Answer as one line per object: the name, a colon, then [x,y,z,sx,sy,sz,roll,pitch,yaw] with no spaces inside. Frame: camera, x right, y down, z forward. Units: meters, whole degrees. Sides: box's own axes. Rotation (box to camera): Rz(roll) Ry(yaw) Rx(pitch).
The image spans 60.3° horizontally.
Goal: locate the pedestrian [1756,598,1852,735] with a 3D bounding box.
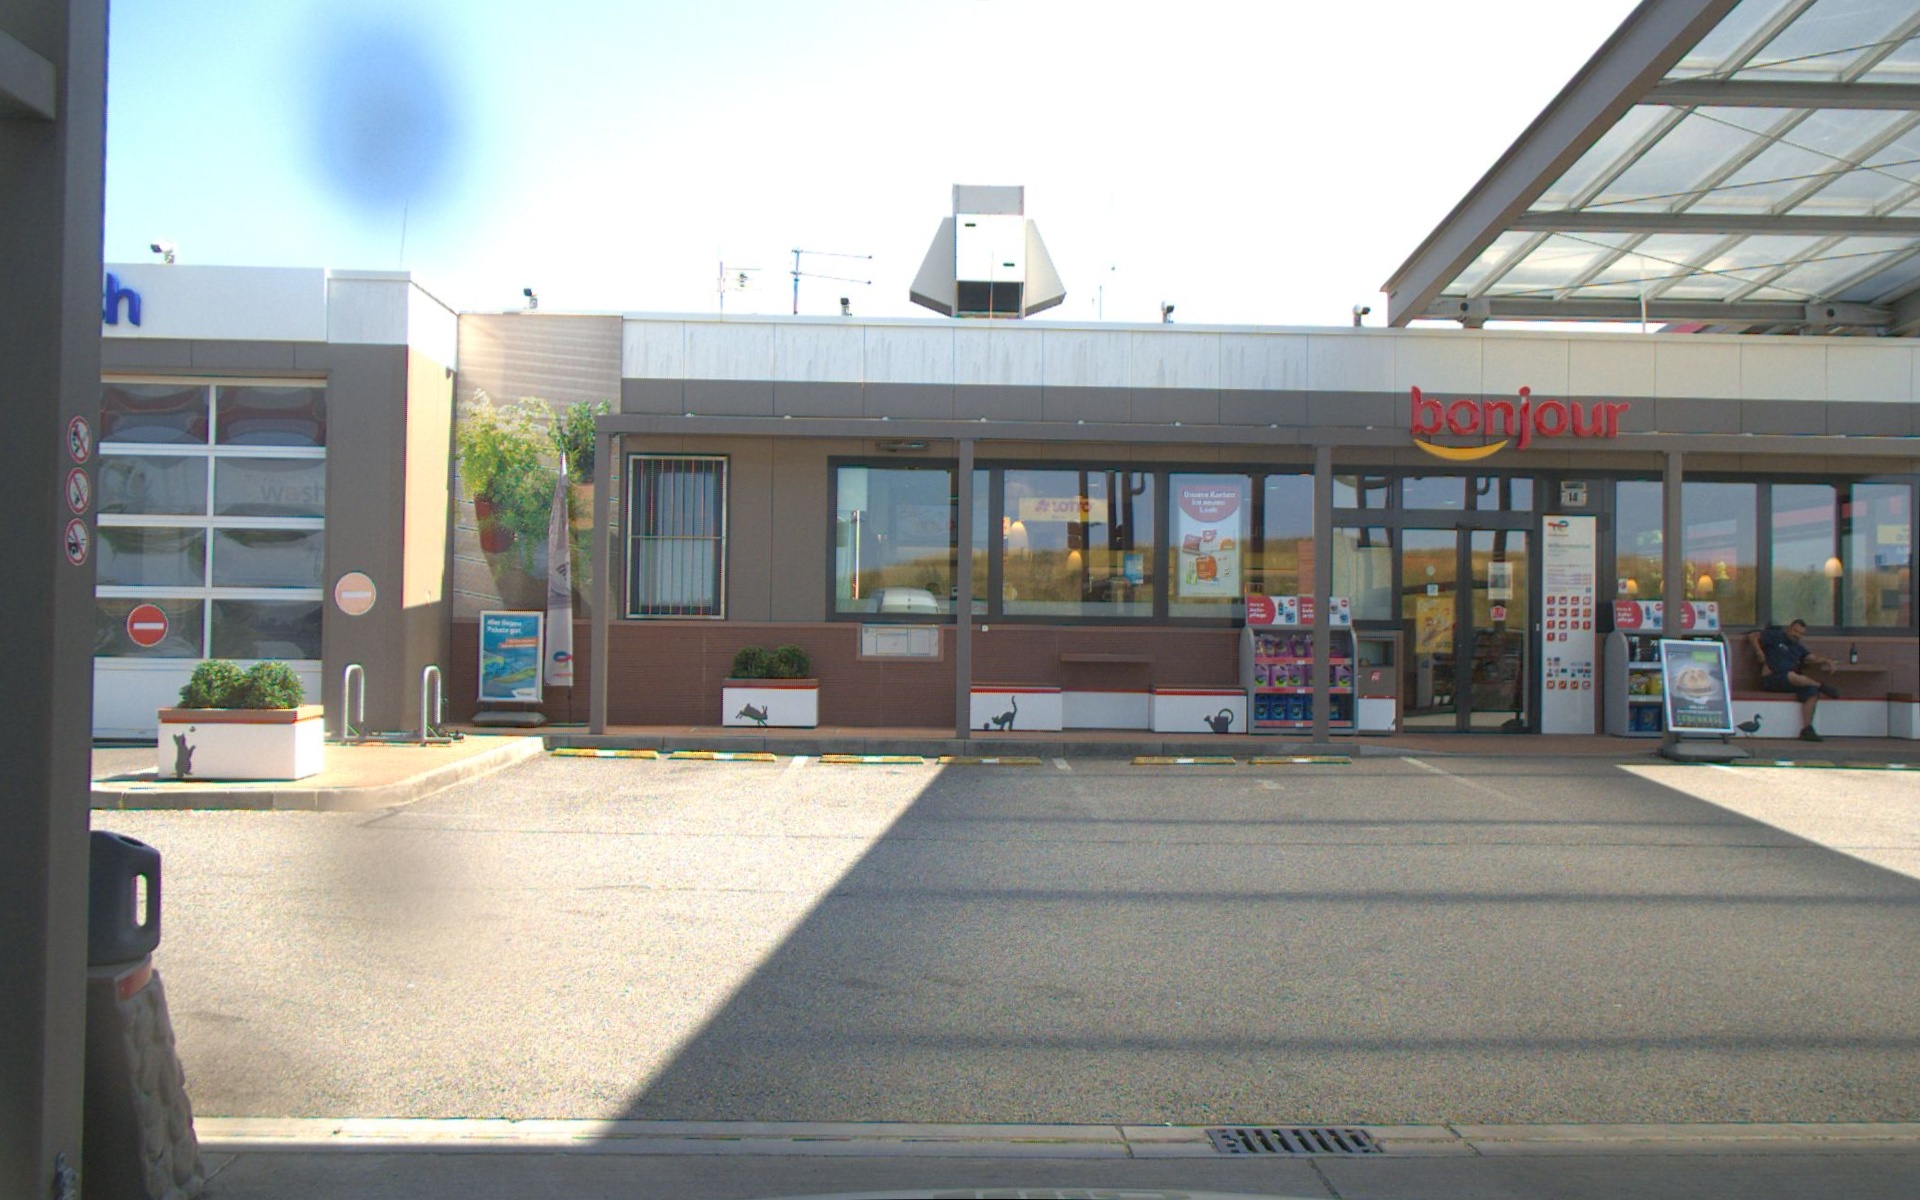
pedestrian: [9.120,0.708,17.898,0.687,1.457,0.672,0,-1,-3]
